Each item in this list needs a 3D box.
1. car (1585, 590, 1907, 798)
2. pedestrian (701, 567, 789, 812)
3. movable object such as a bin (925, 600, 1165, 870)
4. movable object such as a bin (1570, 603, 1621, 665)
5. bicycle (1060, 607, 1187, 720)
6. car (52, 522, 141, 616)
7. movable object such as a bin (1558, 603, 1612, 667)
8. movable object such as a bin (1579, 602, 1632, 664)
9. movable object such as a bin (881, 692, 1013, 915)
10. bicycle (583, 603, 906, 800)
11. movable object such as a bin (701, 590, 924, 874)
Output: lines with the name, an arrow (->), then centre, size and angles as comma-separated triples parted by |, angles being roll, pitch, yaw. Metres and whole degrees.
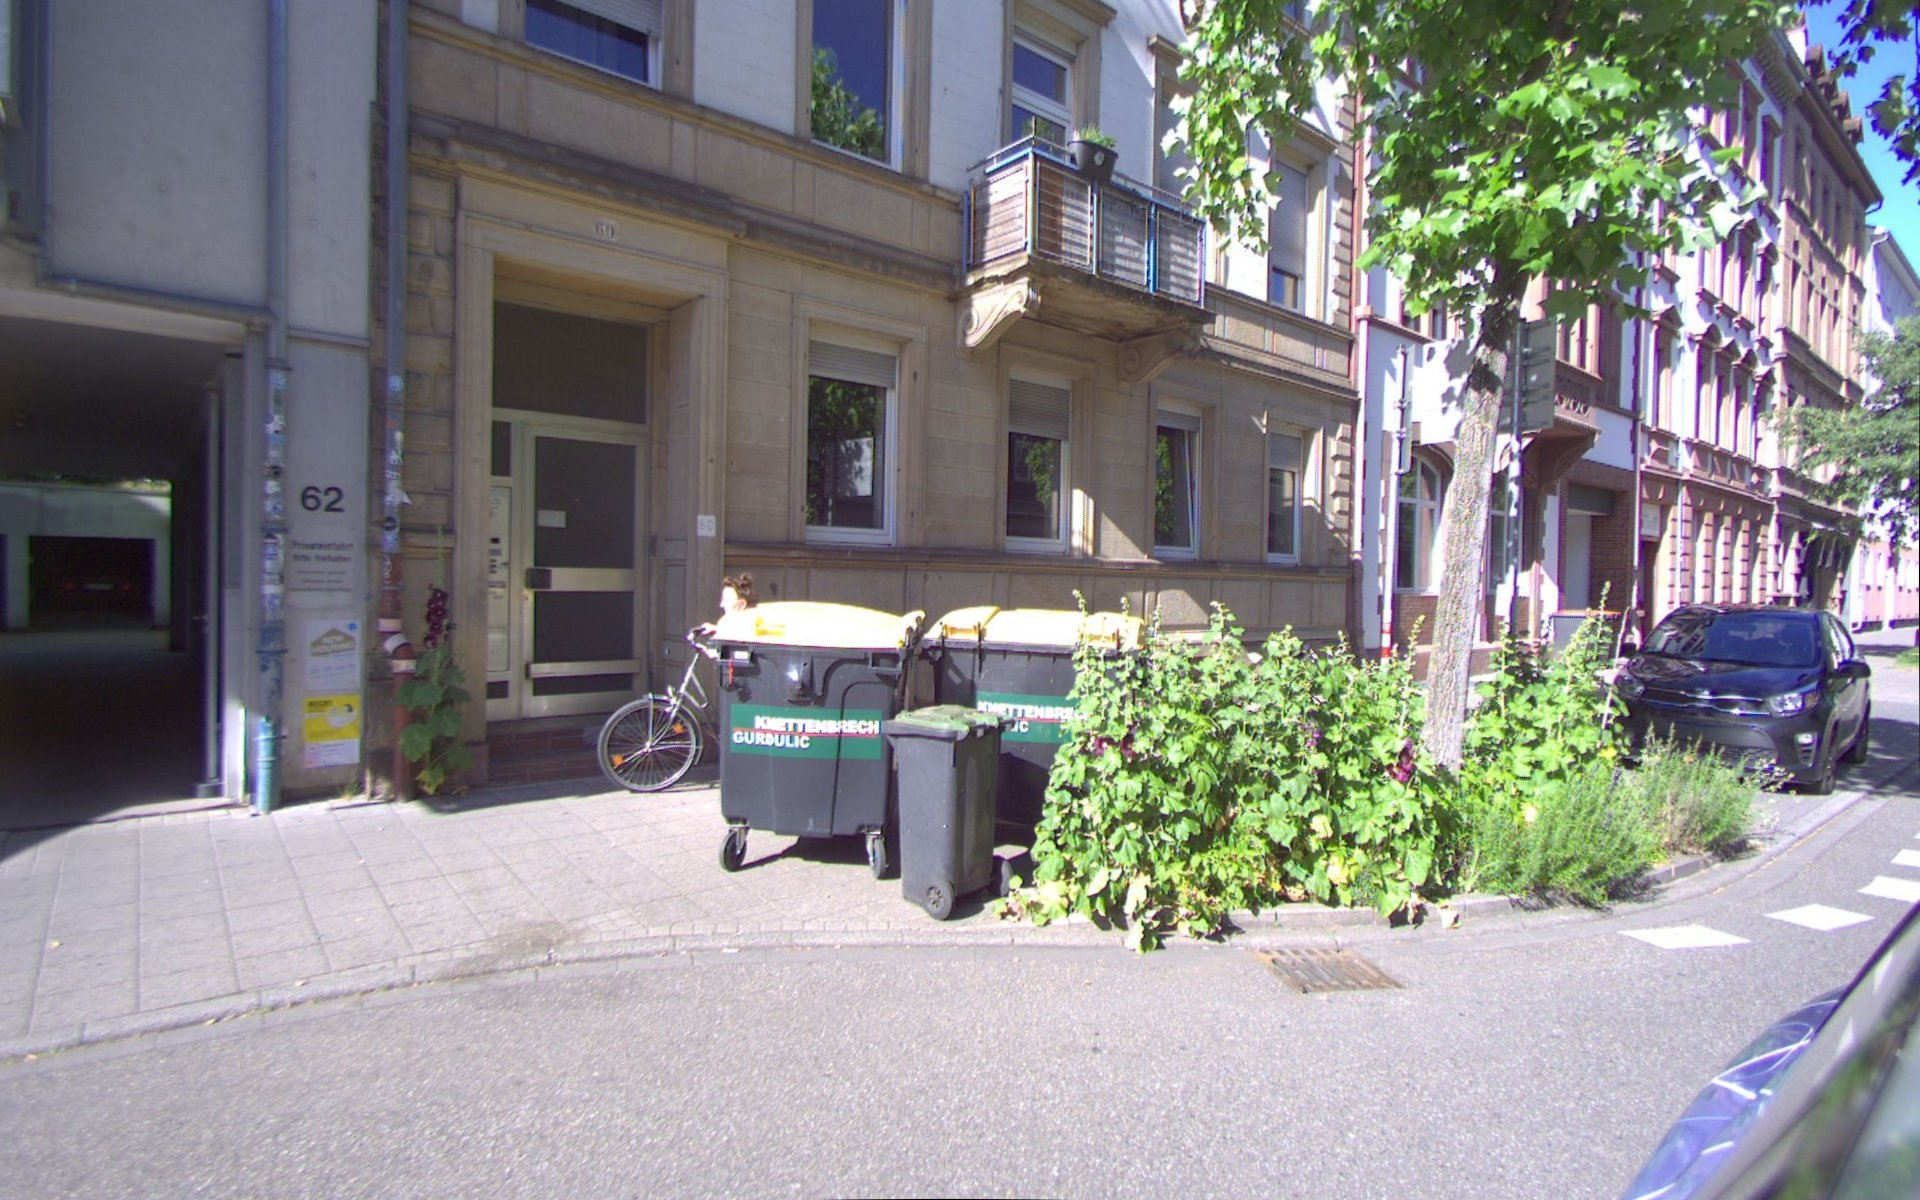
car -> 7.284, 0.683, 9.275 | 3.517, 1.494, 1.639 | 0, 2, -41
pedestrian -> -1.363, 0.540, 6.409 | 0.383, 1.487, 0.368 | 0, 2, -41
movable object such as a bin -> 0.514, 0.709, 5.951 | 1.250, 1.364, 1.106 | 1, 1, 8
movable object such as a bin -> 11.436, 0.597, 18.212 | 0.512, 1.082, 0.639 | 0, 1, -40
bicycle -> 1.700, 0.621, 10.414 | 1.403, 1.043, 0.433 | 0, 4, -41
car -> -21.761, -0.836, 25.460 | 1.540, 1.556, 4.002 | 0, 12, -43
movable object such as a bin -> 10.988, 0.598, 17.802 | 0.621, 1.082, 0.639 | 0, 1, -40
movable object such as a bin -> 11.850, 0.592, 18.578 | 0.628, 1.082, 0.639 | 0, 1, -40
movable object such as a bin -> -0.061, 0.955, 4.926 | 0.441, 0.941, 0.466 | 1, 1, 37
bicycle -> -1.410, 0.612, 6.872 | 2.082, 1.163, 0.538 | 0, 1, -33
movable object such as a bin -> -0.757, 0.662, 5.582 | 1.087, 1.364, 1.042 | 1, 3, -1
